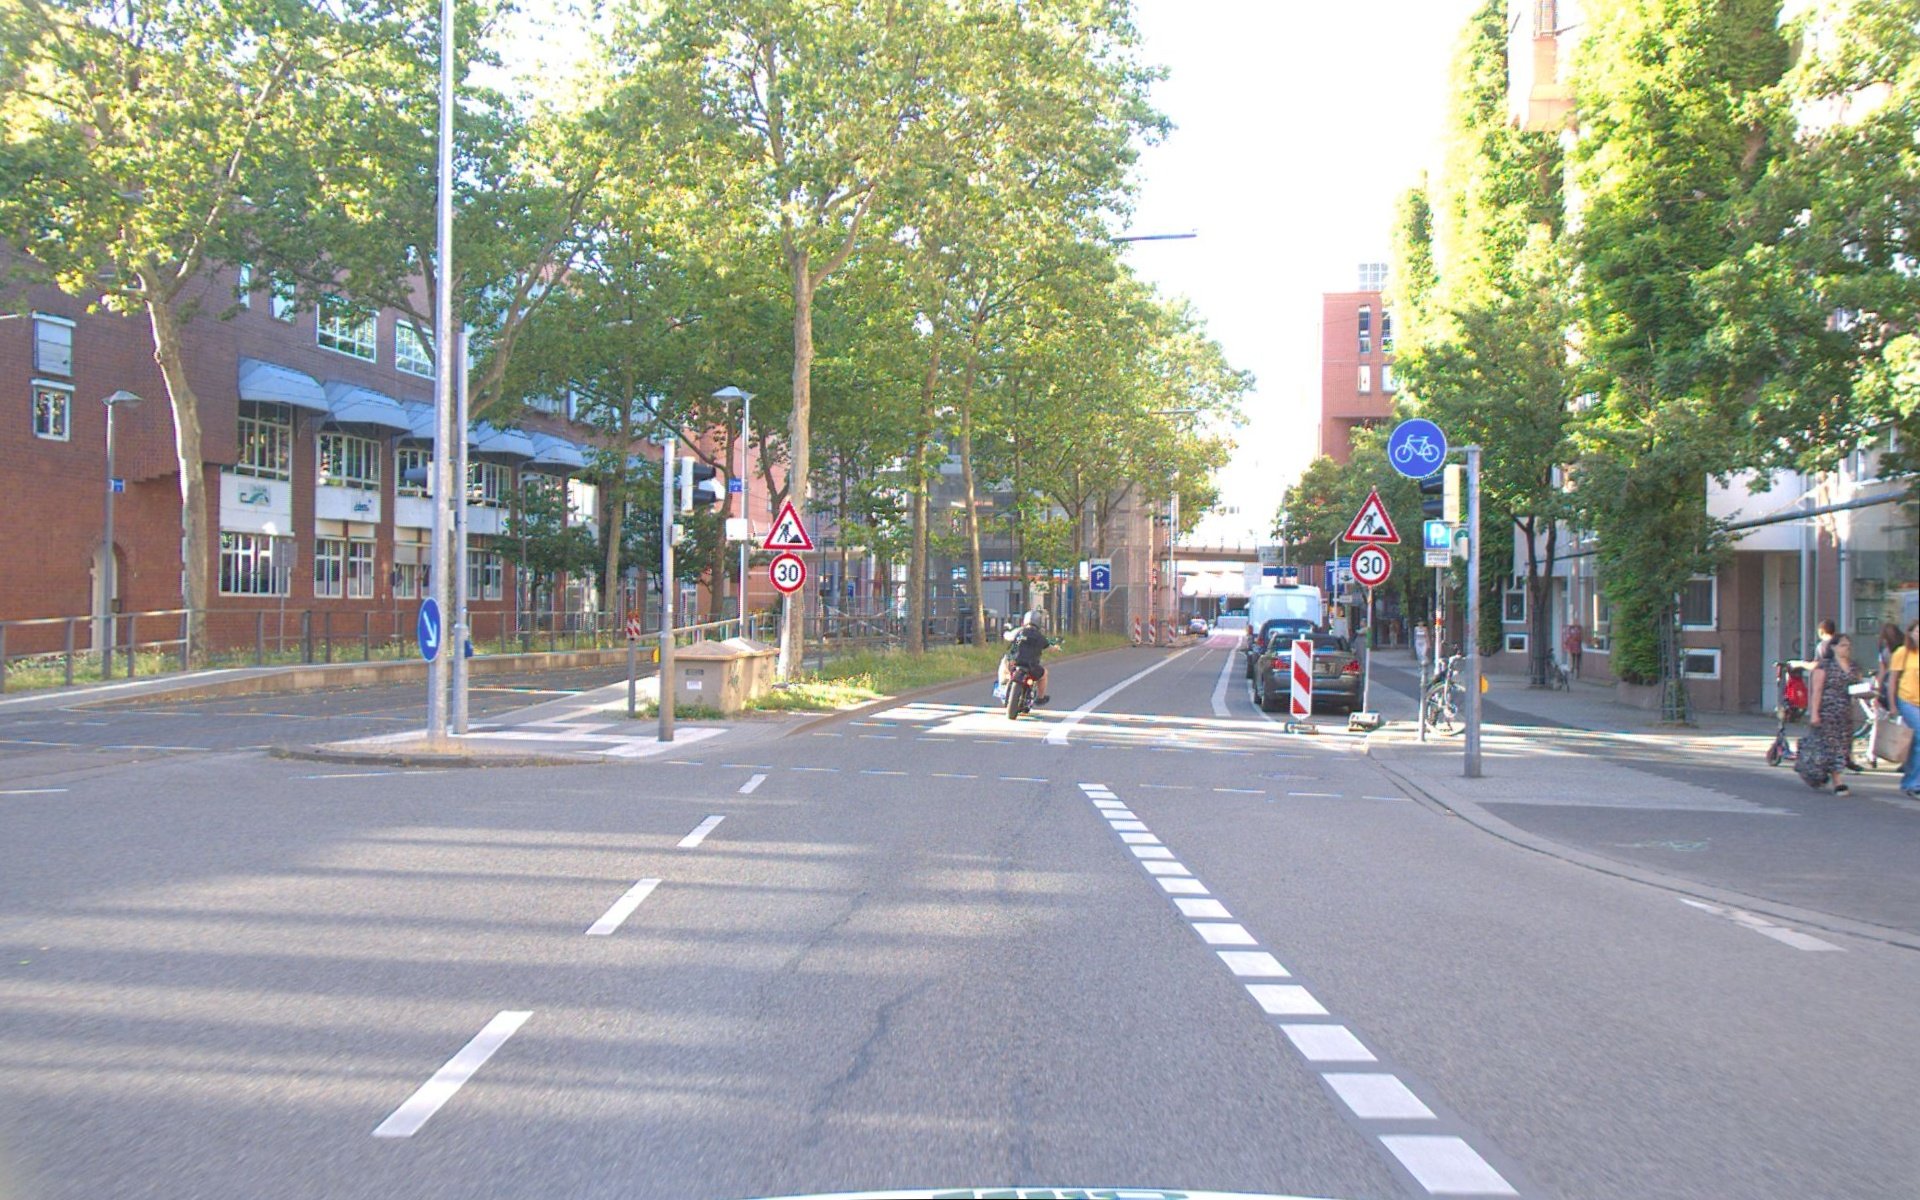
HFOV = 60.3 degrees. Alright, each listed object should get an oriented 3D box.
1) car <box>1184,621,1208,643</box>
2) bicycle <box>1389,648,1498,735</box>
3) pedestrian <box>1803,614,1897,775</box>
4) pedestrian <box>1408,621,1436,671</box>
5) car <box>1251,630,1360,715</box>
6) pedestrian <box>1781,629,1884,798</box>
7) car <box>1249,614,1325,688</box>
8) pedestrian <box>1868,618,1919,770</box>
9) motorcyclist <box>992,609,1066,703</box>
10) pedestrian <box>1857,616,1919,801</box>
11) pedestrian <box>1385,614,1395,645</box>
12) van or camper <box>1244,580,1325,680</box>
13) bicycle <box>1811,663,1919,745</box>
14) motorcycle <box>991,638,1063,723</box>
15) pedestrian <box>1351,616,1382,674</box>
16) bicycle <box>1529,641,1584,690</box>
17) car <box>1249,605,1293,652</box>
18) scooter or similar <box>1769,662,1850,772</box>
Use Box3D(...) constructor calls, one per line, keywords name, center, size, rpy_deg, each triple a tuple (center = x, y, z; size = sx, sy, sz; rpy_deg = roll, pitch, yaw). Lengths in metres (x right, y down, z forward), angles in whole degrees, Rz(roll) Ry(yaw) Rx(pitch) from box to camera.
Box3D(name="car", center=(20.220, 2.726, 141.794), size=(1.812, 1.747, 4.002), rpy_deg=(1, 0, 6))
Box3D(name="bicycle", center=(6.516, 1.216, 22.364), size=(0.723, 1.071, 1.748), rpy_deg=(1, 0, -10))
Box3D(name="pedestrian", center=(10.137, 1.059, 18.863), size=(0.769, 1.794, 0.610), rpy_deg=(1, -1, 7))
Box3D(name="pedestrian", center=(13.961, 1.383, 50.005), size=(0.749, 1.471, 0.781), rpy_deg=(1, -1, 13))
Box3D(name="car", center=(6.093, 1.236, 29.503), size=(1.586, 1.325, 4.315), rpy_deg=(1, 0, 8))
Box3D(name="pedestrian", center=(8.568, 1.095, 16.271), size=(0.631, 1.606, 0.748), rpy_deg=(1, 0, 3))
Box3D(name="car", center=(7.756, 1.161, 39.506), size=(1.585, 1.648, 4.488), rpy_deg=(1, 0, 9))
Box3D(name="pedestrian", center=(10.754, 1.055, 18.833), size=(0.450, 1.702, 0.680), rpy_deg=(1, 0, -2))
Box3D(name="motorcyclist", center=(1.006, 0.797, 24.012), size=(0.990, 1.285, 0.774), rpy_deg=(3, 0, 3))
Box3D(name="pedestrian", center=(9.346, 1.049, 16.219), size=(0.685, 1.764, 0.768), rpy_deg=(1, 0, 3))
Box3D(name="pedestrian", center=(22.813, 1.565, 87.723), size=(0.440, 1.655, 0.375), rpy_deg=(1, -1, 5))
Box3D(name="van or camper", center=(8.962, 0.796, 46.079), size=(2.005, 2.585, 5.777), rpy_deg=(1, 0, 9))
Box3D(name="bicycle", center=(11.929, 1.346, 21.684), size=(0.721, 0.956, 1.753), rpy_deg=(1, 0, 4))
Box3D(name="motorcycle", center=(1.004, 1.156, 24.279), size=(0.996, 1.116, 2.008), rpy_deg=(1, 0, 3))
Box3D(name="pedestrian", center=(11.805, 1.307, 48.044), size=(0.747, 1.673, 0.547), rpy_deg=(1, -1, 2))
Box3D(name="bicycle", center=(13.503, 1.476, 37.483), size=(0.604, 1.038, 1.914), rpy_deg=(1, 0, 2))
Box3D(name="car", center=(14.122, 1.274, 75.330), size=(1.796, 2.049, 4.391), rpy_deg=(1, 0, 9))
Box3D(name="scooter or similar", center=(9.711, 1.317, 18.937), size=(0.386, 1.178, 1.250), rpy_deg=(1, 0, 5))
